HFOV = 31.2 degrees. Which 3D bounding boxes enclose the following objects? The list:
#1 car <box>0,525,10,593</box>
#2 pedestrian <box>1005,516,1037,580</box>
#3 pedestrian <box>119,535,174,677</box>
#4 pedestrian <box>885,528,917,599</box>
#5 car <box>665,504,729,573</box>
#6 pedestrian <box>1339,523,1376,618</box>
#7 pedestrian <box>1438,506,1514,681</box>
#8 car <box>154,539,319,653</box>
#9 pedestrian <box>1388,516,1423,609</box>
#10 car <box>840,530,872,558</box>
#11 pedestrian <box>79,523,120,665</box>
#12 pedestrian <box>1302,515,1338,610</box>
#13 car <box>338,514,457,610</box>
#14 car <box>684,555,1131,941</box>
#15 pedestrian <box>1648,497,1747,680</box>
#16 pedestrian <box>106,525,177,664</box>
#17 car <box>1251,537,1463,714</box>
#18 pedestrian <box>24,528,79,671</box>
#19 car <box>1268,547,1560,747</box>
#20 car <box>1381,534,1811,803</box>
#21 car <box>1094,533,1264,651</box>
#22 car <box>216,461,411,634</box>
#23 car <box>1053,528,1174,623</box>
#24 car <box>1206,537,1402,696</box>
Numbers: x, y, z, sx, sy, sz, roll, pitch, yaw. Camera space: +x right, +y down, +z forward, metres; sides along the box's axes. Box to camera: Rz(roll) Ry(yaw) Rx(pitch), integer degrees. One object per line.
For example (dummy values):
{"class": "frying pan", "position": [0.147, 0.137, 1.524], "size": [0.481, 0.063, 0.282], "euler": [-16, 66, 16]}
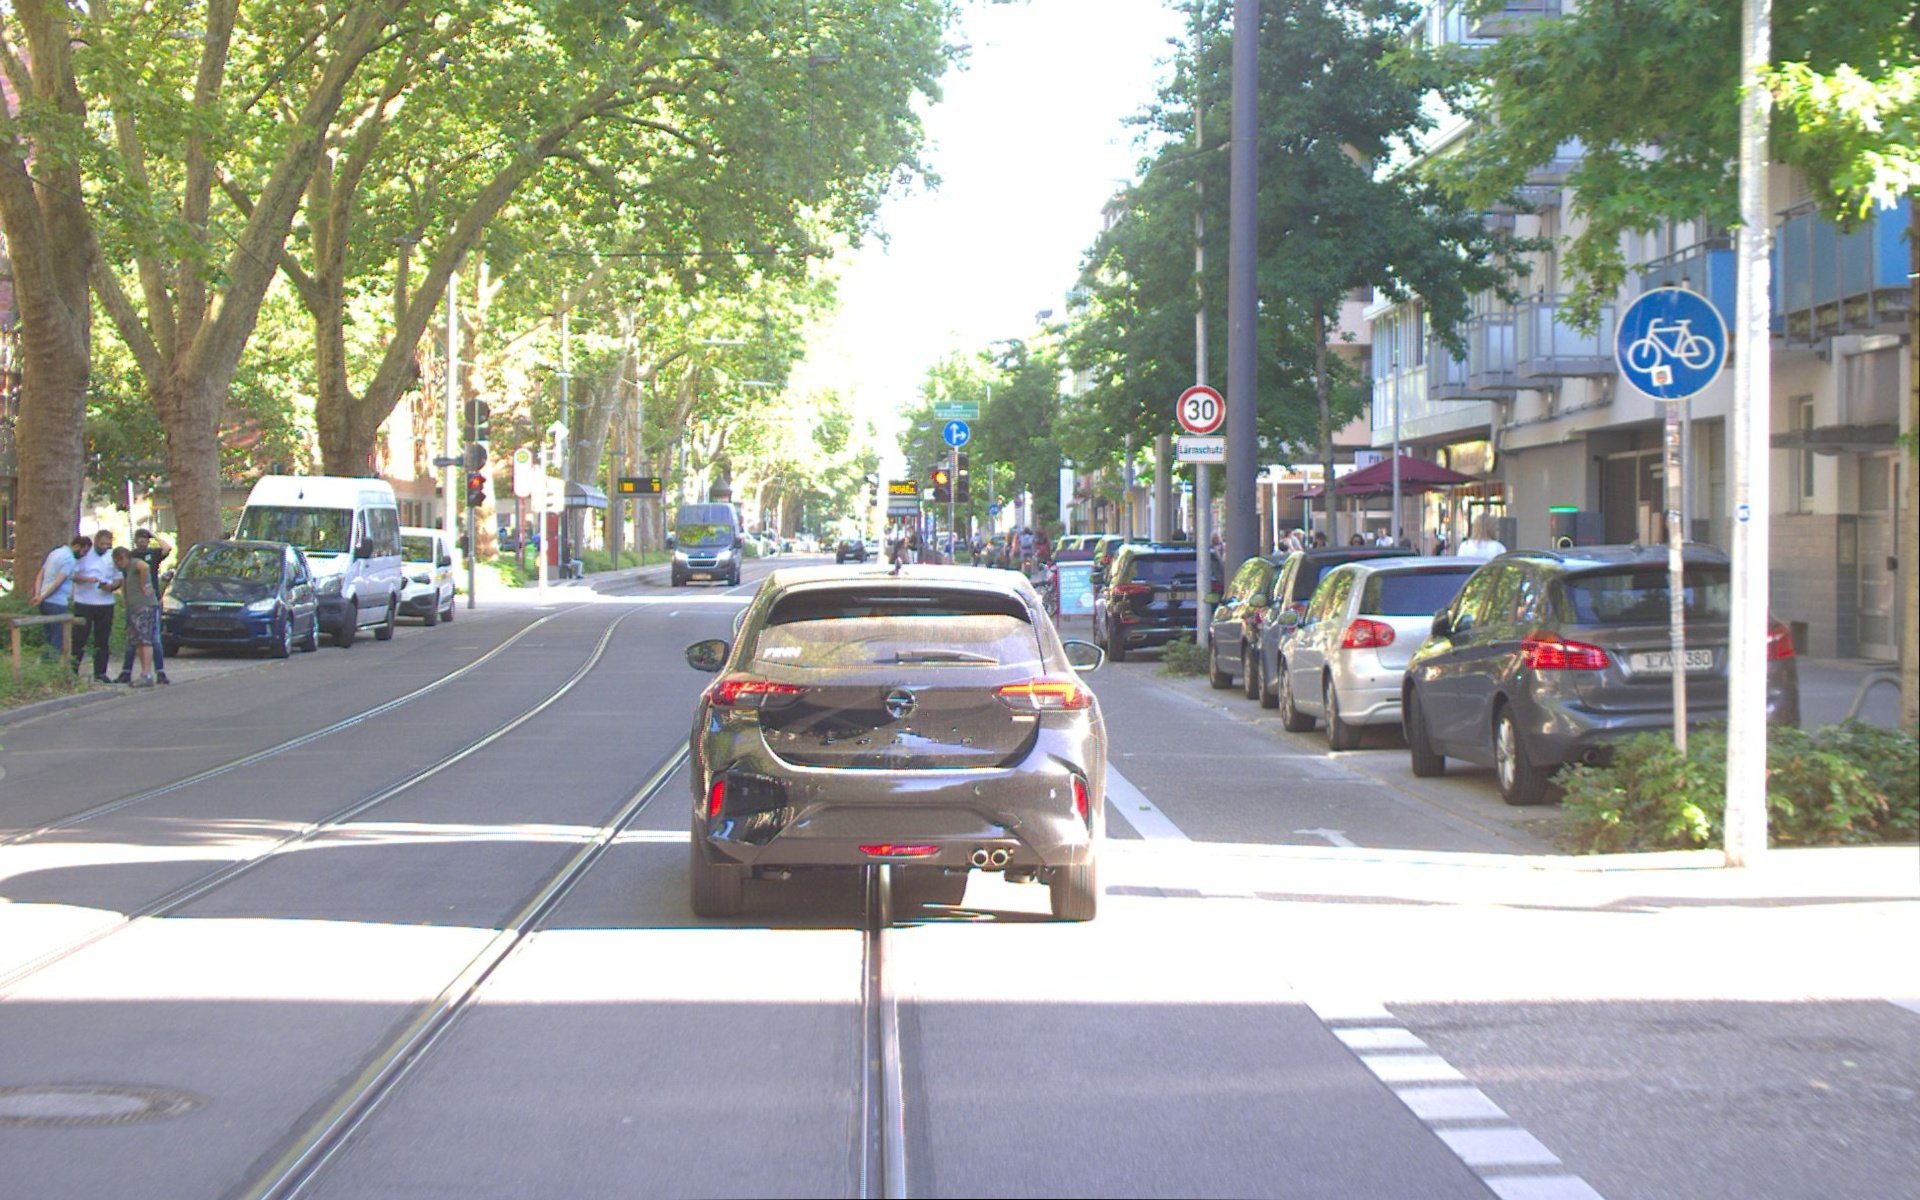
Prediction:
{"class": "car", "position": [-25.872, -1.022, 85.694], "size": [3.986, 1.700, 2.001], "euler": [0, 1, -7]}
{"class": "pedestrian", "position": [1.976, -1.669, 111.072], "size": [0.856, 2.007, 1.070], "euler": [-4, 1, 0]}
{"class": "pedestrian", "position": [-9.101, 0.066, 38.471], "size": [0.506, 1.577, 0.527], "euler": [0, 1, -2]}
{"class": "pedestrian", "position": [-1.340, -0.835, 77.971], "size": [0.594, 1.584, 0.893], "euler": [0, 1, -8]}
{"class": "car", "position": [-8.621, -2.024, 112.589], "size": [1.993, 2.204, 5.104], "euler": [0, 1, -5]}
{"class": "pedestrian", "position": [7.270, -0.535, 62.883], "size": [0.629, 1.726, 0.632], "euler": [0, 1, 4]}
{"class": "pedestrian", "position": [4.888, -0.071, 32.595], "size": [0.600, 1.646, 0.631], "euler": [0, 1, -2]}
{"class": "car", "position": [-10.060, -0.091, 48.056], "size": [1.754, 1.503, 4.001], "euler": [0, 1, -5]}
{"class": "pedestrian", "position": [8.250, -0.700, 63.670], "size": [0.629, 1.726, 0.632], "euler": [0, 1, 5]}
{"class": "car", "position": [-6.178, -3.331, 203.866], "size": [1.750, 1.646, 4.000], "euler": [0, 1, 0]}
{"class": "pedestrian", "position": [-9.627, -0.070, 38.485], "size": [0.346, 1.577, 0.508], "euler": [0, 1, -3]}
{"class": "pedestrian", "position": [6.585, -0.683, 62.843], "size": [0.629, 1.726, 0.632], "euler": [0, 1, 4]}
{"class": "car", "position": [-10.439, -0.734, 64.004], "size": [1.993, 1.711, 4.001], "euler": [0, 1, -7]}
{"class": "car", "position": [-0.254, 0.544, 15.008], "size": [1.679, 1.417, 3.628], "euler": [2, 1, -2]}
{"class": "pedestrian", "position": [7.083, -0.118, 33.059], "size": [0.793, 1.742, 0.770], "euler": [0, 1, 1]}
{"class": "pedestrian", "position": [-9.318, -0.067, 39.155], "size": [0.683, 1.577, 0.557], "euler": [0, 1, -3]}
{"class": "car", "position": [3.683, 0.200, 32.319], "size": [1.651, 1.568, 3.084], "euler": [0, 1, 1]}
{"class": "pedestrian", "position": [-10.095, -0.013, 38.211], "size": [0.506, 1.577, 0.527], "euler": [0, 1, -5]}
{"class": "car", "position": [3.609, 0.327, 27.924], "size": [1.718, 1.485, 3.682], "euler": [0, 1, -3]}
{"class": "car", "position": [4.019, 0.367, 22.394], "size": [1.718, 1.568, 4.086], "euler": [0, 1, -5]}
{"class": "car", "position": [2.923, -0.145, 46.666], "size": [1.993, 1.503, 4.000], "euler": [0, 1, -1]}
{"class": "car", "position": [-10.107, -0.858, 54.228], "size": [2.092, 2.575, 5.997], "euler": [0, 1, -2]}
{"class": "car", "position": [2.763, -0.469, 61.174], "size": [1.994, 1.634, 4.000], "euler": [0, 1, 5]}
{"class": "car", "position": [3.568, 0.130, 36.177], "size": [1.718, 1.568, 3.682], "euler": [0, 1, 0]}
